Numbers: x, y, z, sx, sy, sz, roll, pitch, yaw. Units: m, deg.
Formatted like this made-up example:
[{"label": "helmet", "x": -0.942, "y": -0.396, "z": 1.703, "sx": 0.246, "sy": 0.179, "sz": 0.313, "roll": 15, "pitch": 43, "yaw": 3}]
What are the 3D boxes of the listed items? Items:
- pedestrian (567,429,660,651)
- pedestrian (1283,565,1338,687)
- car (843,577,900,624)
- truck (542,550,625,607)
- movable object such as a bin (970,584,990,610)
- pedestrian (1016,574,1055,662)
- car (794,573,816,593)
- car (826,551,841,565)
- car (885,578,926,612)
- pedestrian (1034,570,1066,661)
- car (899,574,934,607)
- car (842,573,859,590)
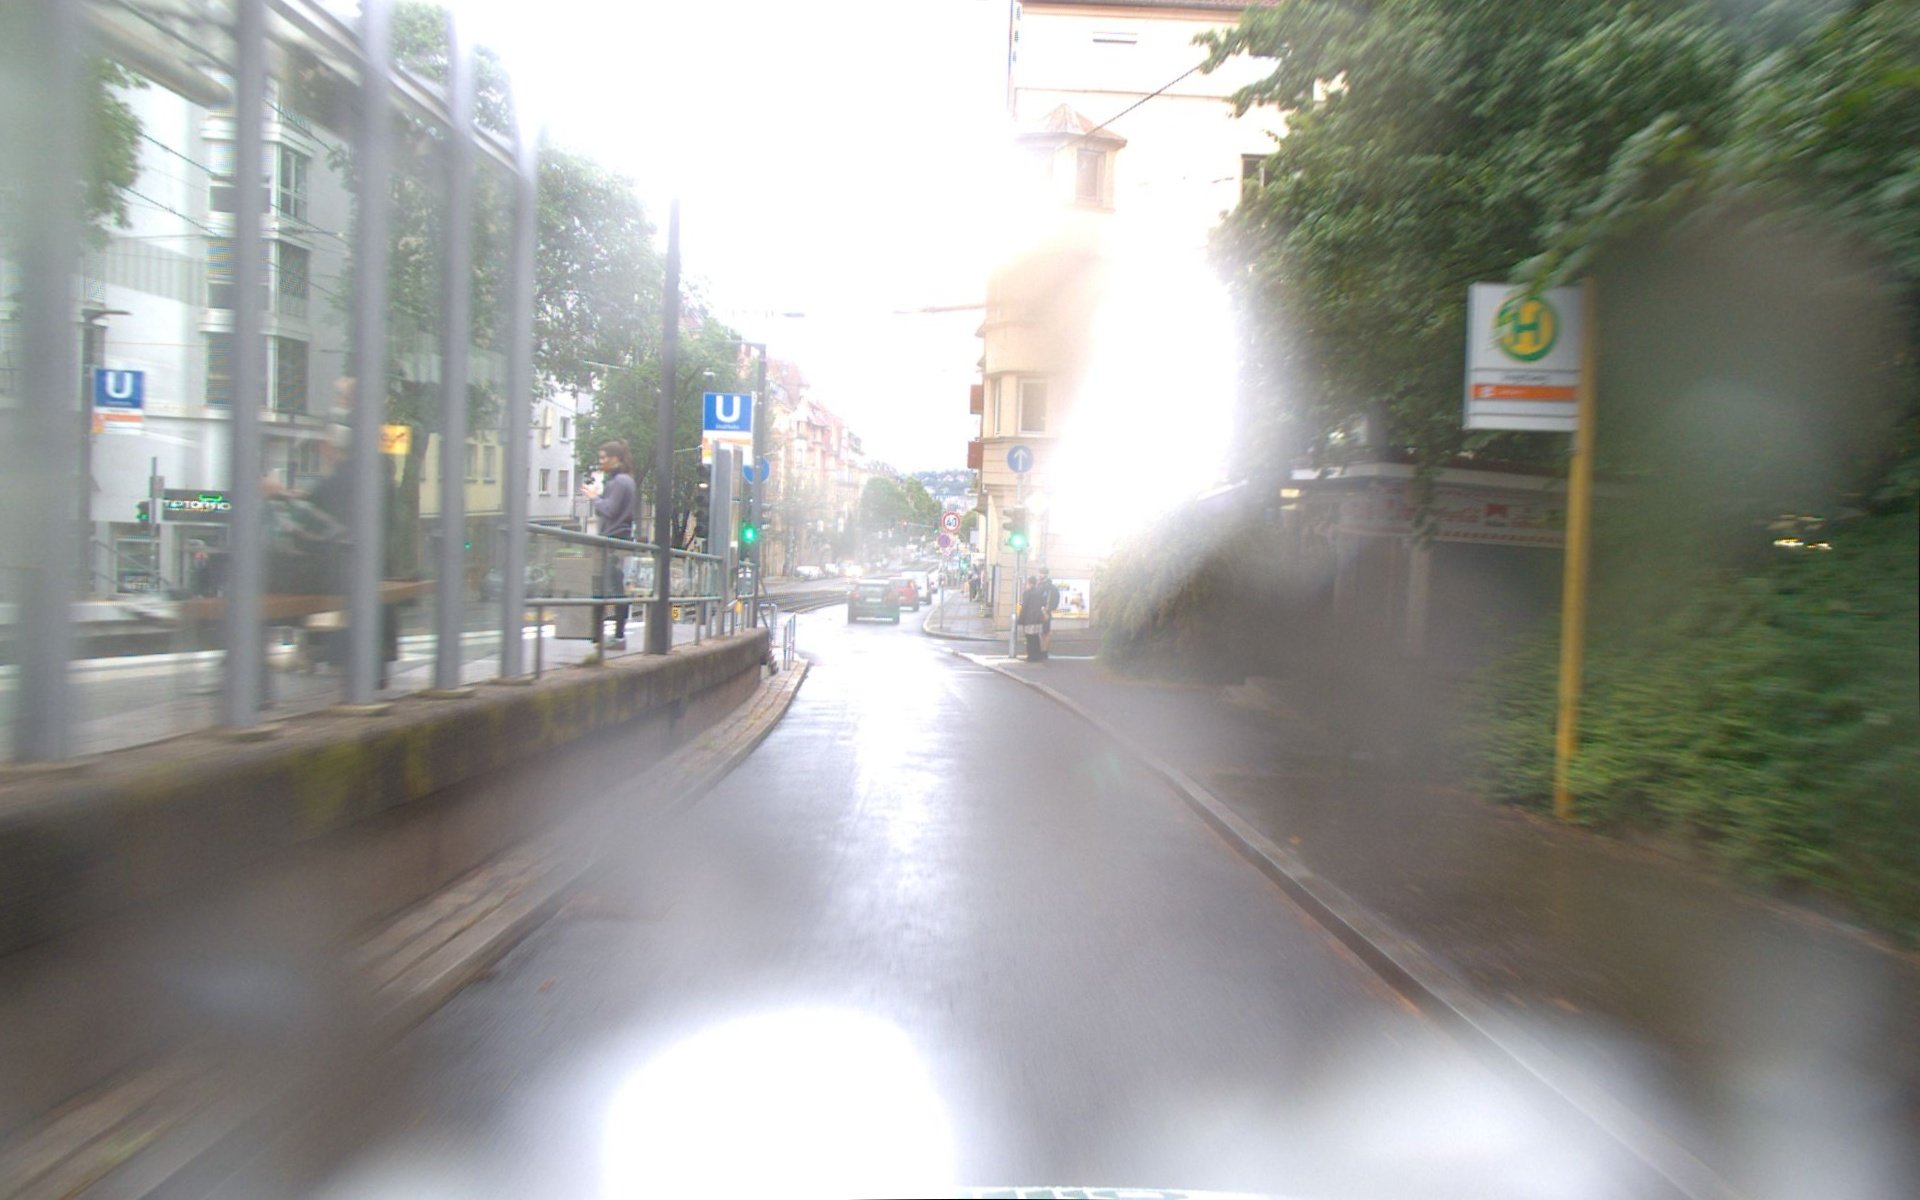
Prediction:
[{"label": "pedestrian", "x": -2.977, "y": -0.506, "z": 14.271, "sx": 0.577, "sy": 1.839, "sz": 0.660, "roll": 3, "pitch": 0, "yaw": -1}, {"label": "pedestrian", "x": 5.255, "y": 0.383, "z": 24.824, "sx": 0.590, "sy": 1.776, "sz": 0.614, "roll": 3, "pitch": 0, "yaw": -2}, {"label": "car", "x": -3.041, "y": -0.013, "z": 57.303, "sx": 1.814, "sy": 1.499, "sz": 3.999, "roll": 2, "pitch": 1, "yaw": -1}, {"label": "truck", "x": -17.145, "y": -0.951, "z": 75.701, "sx": 2.008, "sy": 2.435, "sz": 6.323, "roll": 2, "pitch": 0, "yaw": 3}, {"label": "movable object such as a bin", "x": 1.276, "y": -0.192, "z": 105.434, "sx": 1.145, "sy": 1.684, "sz": 1.308, "roll": 0, "pitch": 0, "yaw": -4}, {"label": "pedestrian", "x": 1.531, "y": 0.361, "z": 33.440, "sx": 0.681, "sy": 1.724, "sz": 0.555, "roll": 2, "pitch": 0, "yaw": -3}, {"label": "car", "x": -16.252, "y": -1.791, "z": 173.200, "sx": 1.953, "sy": 2.049, "sz": 4.345, "roll": 0, "pitch": 0, "yaw": -1}, {"label": "car", "x": -19.597, "y": -6.511, "z": 256.021, "sx": 1.953, "sy": 2.049, "sz": 3.999, "roll": 1, "pitch": 1, "yaw": -1}, {"label": "car", "x": -2.551, "y": -0.234, "z": 77.919, "sx": 1.814, "sy": 1.499, "sz": 3.999, "roll": 2, "pitch": 0, "yaw": -2}, {"label": "pedestrian", "x": 1.857, "y": 0.313, "z": 34.073, "sx": 0.543, "sy": 1.845, "sz": 0.650, "roll": 2, "pitch": 0, "yaw": -3}, {"label": "car", "x": -2.568, "y": -0.562, "z": 97.675, "sx": 1.909, "sy": 1.824, "sz": 4.143, "roll": 2, "pitch": 0, "yaw": -2}, {"label": "car", "x": -13.973, "y": -2.372, "z": 211.176, "sx": 1.953, "sy": 2.049, "sz": 4.346, "roll": 1, "pitch": 1, "yaw": -1}]
